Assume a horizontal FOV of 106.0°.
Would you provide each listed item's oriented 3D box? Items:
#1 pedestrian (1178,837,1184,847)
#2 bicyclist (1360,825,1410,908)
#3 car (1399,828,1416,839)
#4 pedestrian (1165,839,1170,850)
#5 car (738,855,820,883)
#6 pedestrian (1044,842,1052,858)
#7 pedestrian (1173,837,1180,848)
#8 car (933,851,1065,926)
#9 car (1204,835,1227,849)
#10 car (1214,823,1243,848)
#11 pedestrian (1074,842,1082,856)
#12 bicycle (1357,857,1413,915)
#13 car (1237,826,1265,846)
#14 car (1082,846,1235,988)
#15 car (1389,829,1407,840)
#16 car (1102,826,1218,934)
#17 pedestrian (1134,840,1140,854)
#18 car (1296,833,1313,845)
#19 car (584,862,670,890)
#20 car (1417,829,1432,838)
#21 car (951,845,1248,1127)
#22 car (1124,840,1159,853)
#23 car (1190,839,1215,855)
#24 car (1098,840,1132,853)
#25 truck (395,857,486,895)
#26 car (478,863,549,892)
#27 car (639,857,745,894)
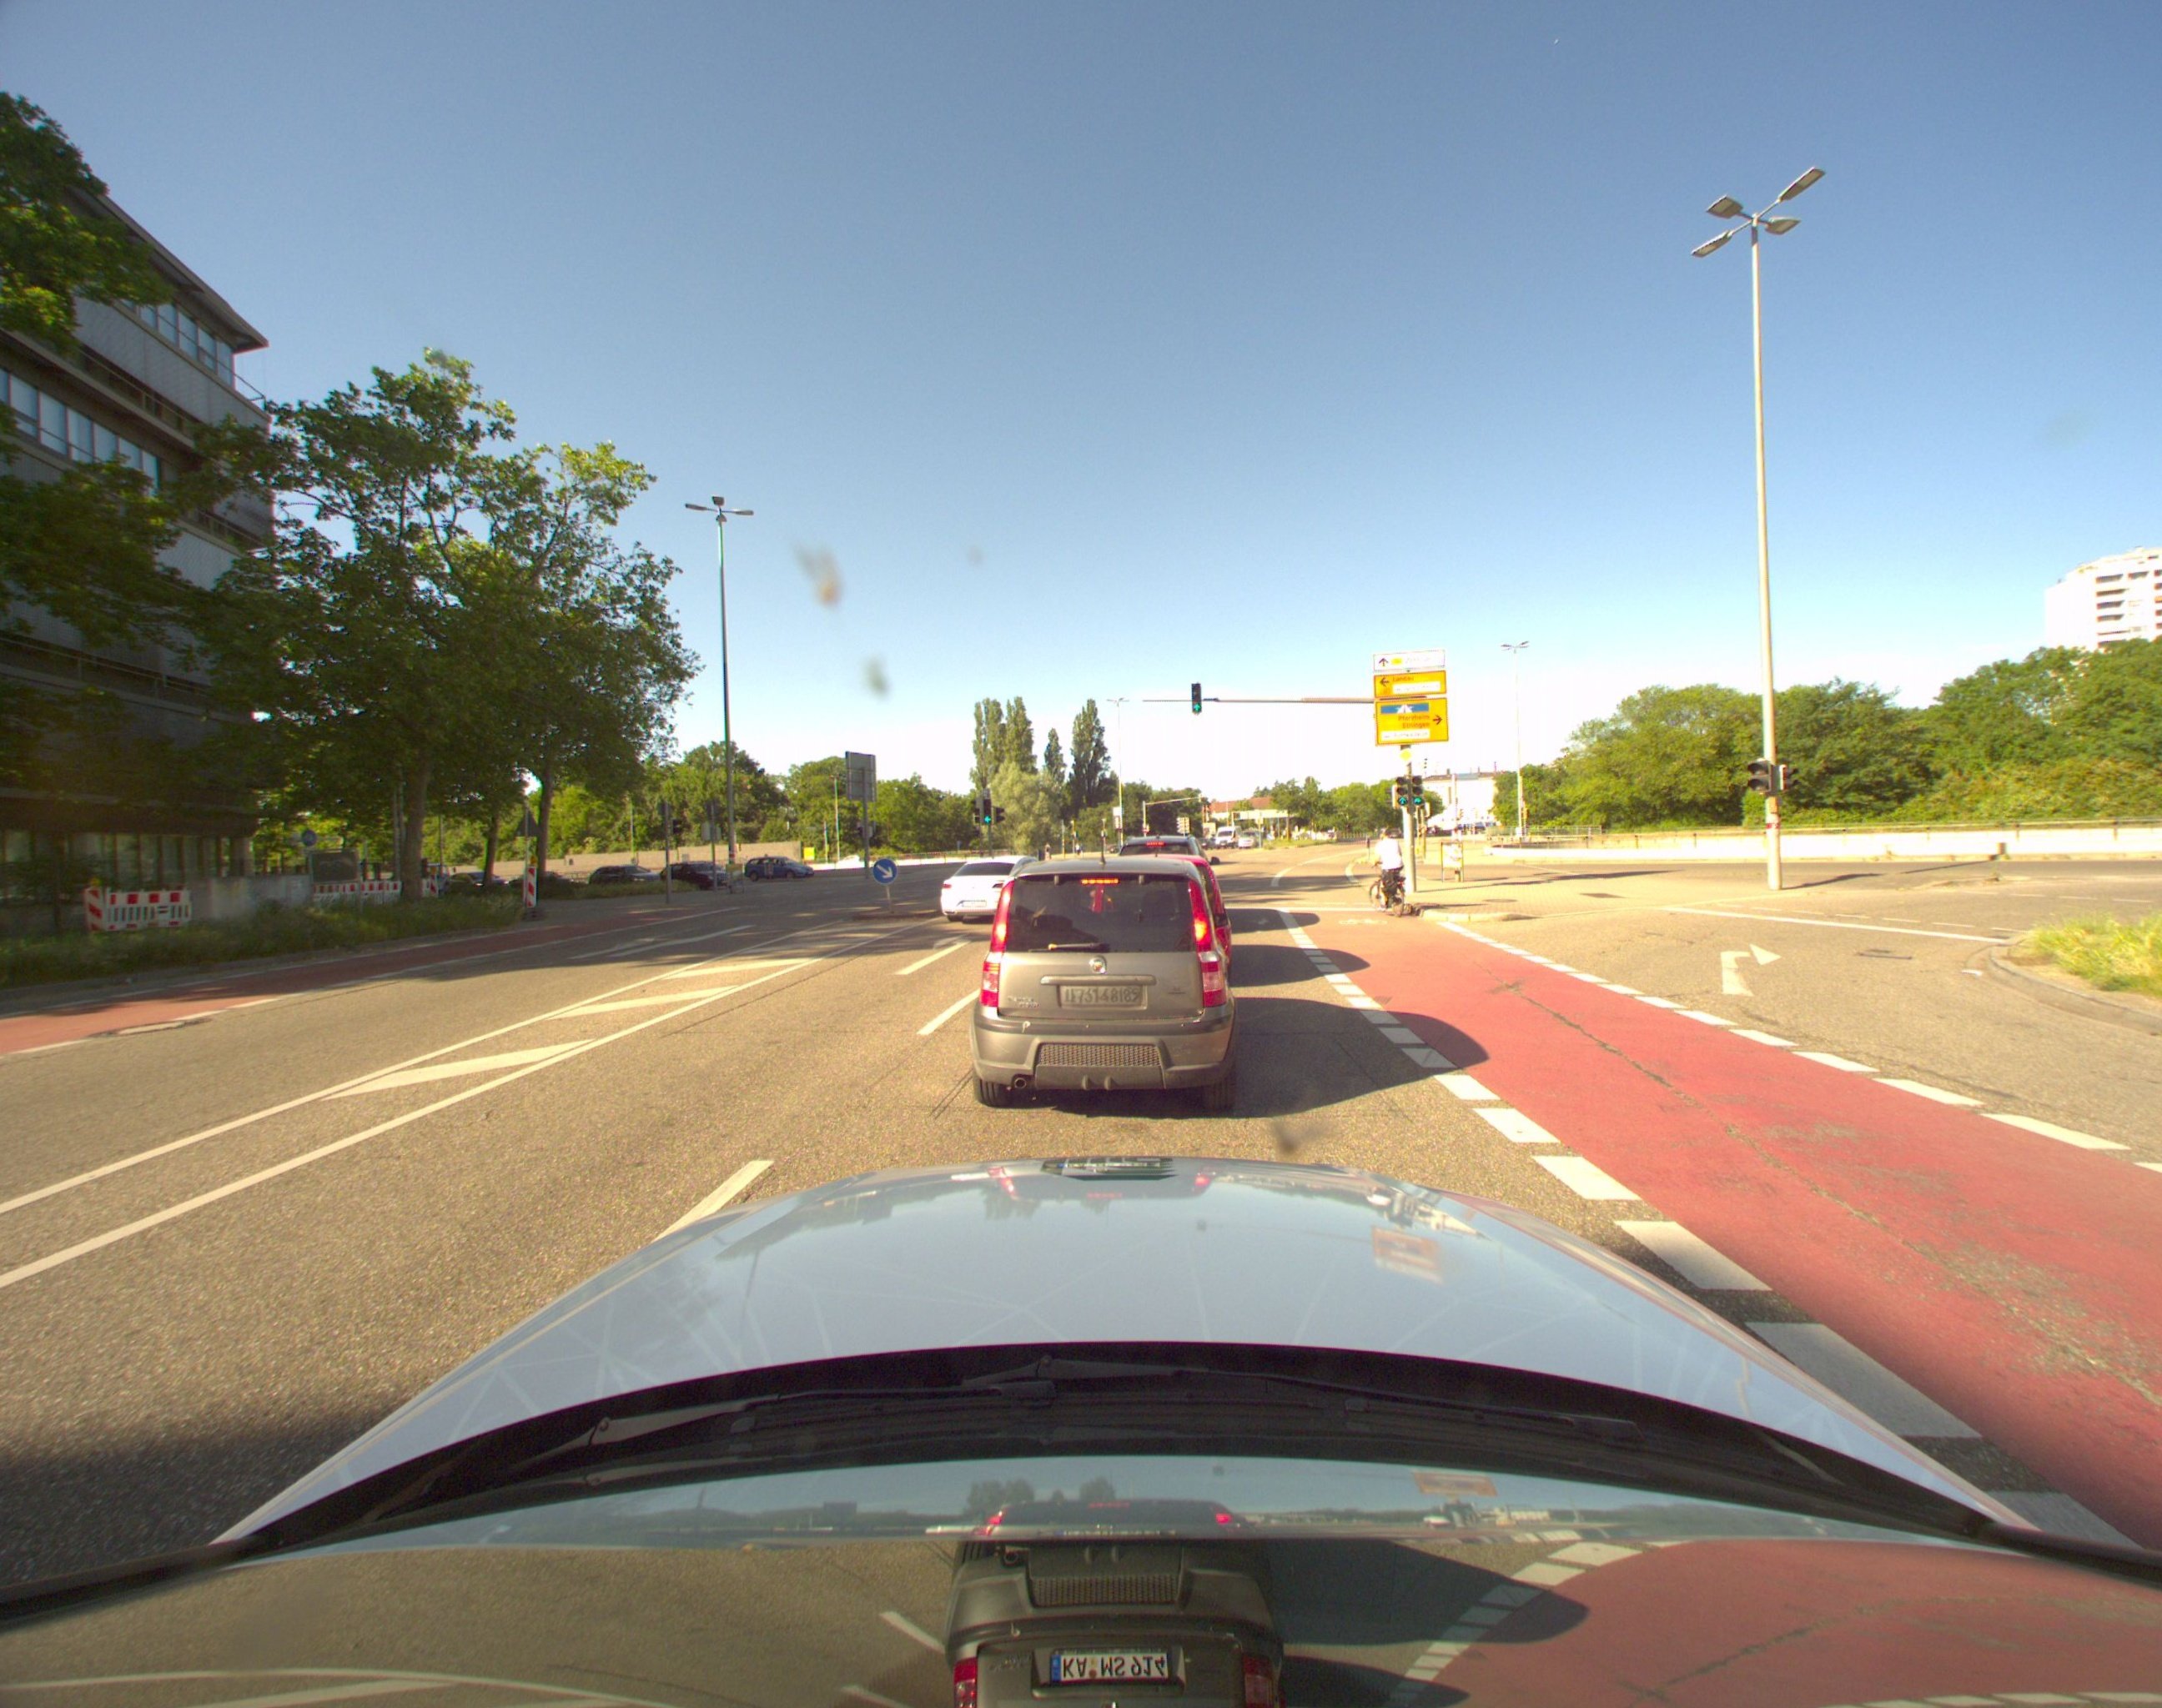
[{"bbox_3d":[15.773,-1.863,128.929,0.713,1.641,0.676,-1,-1,27],"label":"pedestrian"},{"bbox_3d":[6.300,0.239,16.930,0.720,1.659,1.115,-1,1,7],"label":"bicyclist"},{"bbox_3d":[52.685,-3.313,131.337,1.926,1.528,4.123,-2,1,30],"label":"car"},{"bbox_3d":[13.335,-1.443,125.369,0.494,1.701,0.503,-1,-1,26],"label":"pedestrian"},{"bbox_3d":[-18.895,0.957,50.944,4.410,1.540,1.960,-2,1,15],"label":"car"},{"bbox_3d":[-3.040,-0.368,75.121,0.678,1.463,0.702,-2,1,-4],"label":"pedestrian"},{"bbox_3d":[14.664,-1.740,124.810,0.782,1.664,0.633,-1,-1,42],"label":"pedestrian"},{"bbox_3d":[-1.715,0.697,18.631,1.769,1.415,4.333,-1,1,11],"label":"car"},{"bbox_3d":[16.233,-1.477,98.185,1.795,1.541,4.641,-3,1,21],"label":"car"},{"bbox_3d":[16.467,-2.097,90.587,1.920,2.576,6.122,-2,1,22],"label":"car"},{"bbox_3d":[-0.374,-0.622,96.663,0.710,1.547,0.725,-3,-1,-14],"label":"pedestrian"},{"bbox_3d":[6.314,0.639,16.985,0.687,1.102,1.830,-1,1,7],"label":"bicycle"},{"bbox_3d":[18.085,-1.942,86.555,1.920,2.008,4.959,-2,1,22],"label":"car"},{"bbox_3d":[1.078,0.682,10.780,1.609,1.463,3.759,-2,1,7],"label":"car"},{"bbox_3d":[48.867,-3.030,125.461,1.926,1.528,4.123,-2,1,30],"label":"car"},{"bbox_3d":[1.716,0.422,16.268,1.933,1.840,4.165,-2,1,10],"label":"car"},{"bbox_3d":[6.342,-0.811,92.271,0.557,1.547,0.573,-3,-1,-14],"label":"pedestrian"},{"bbox_3d":[33.782,-2.321,123.081,1.920,1.622,4.530,-2,1,22],"label":"car"},{"bbox_3d":[-24.919,1.208,44.703,4.452,1.358,1.892,-2,1,27],"label":"car"},{"bbox_3d":[63.996,-3.866,151.775,1.926,1.528,4.123,-2,1,30],"label":"car"},{"bbox_3d":[0.330,0.732,6.449,1.609,1.515,3.828,-2,1,7],"label":"car"},{"bbox_3d":[7.604,-0.952,102.065,4.351,1.535,1.764,-3,2,-39],"label":"car"},{"bbox_3d":[13.730,-0.789,91.637,1.920,1.507,4.020,-3,1,19],"label":"car"},{"bbox_3d":[4.373,-0.967,104.230,4.018,1.625,1.880,0,-1,-37],"label":"car"},{"bbox_3d":[-43.293,1.476,54.952,7.418,2.359,2.178,-2,1,30],"label":"truck"},{"bbox_3d":[-35.655,1.498,51.147,4.451,1.644,1.892,-2,1,30],"label":"car"},{"bbox_3d":[-19.655,1.081,41.191,4.731,1.621,1.961,-2,1,18],"label":"car"}]
